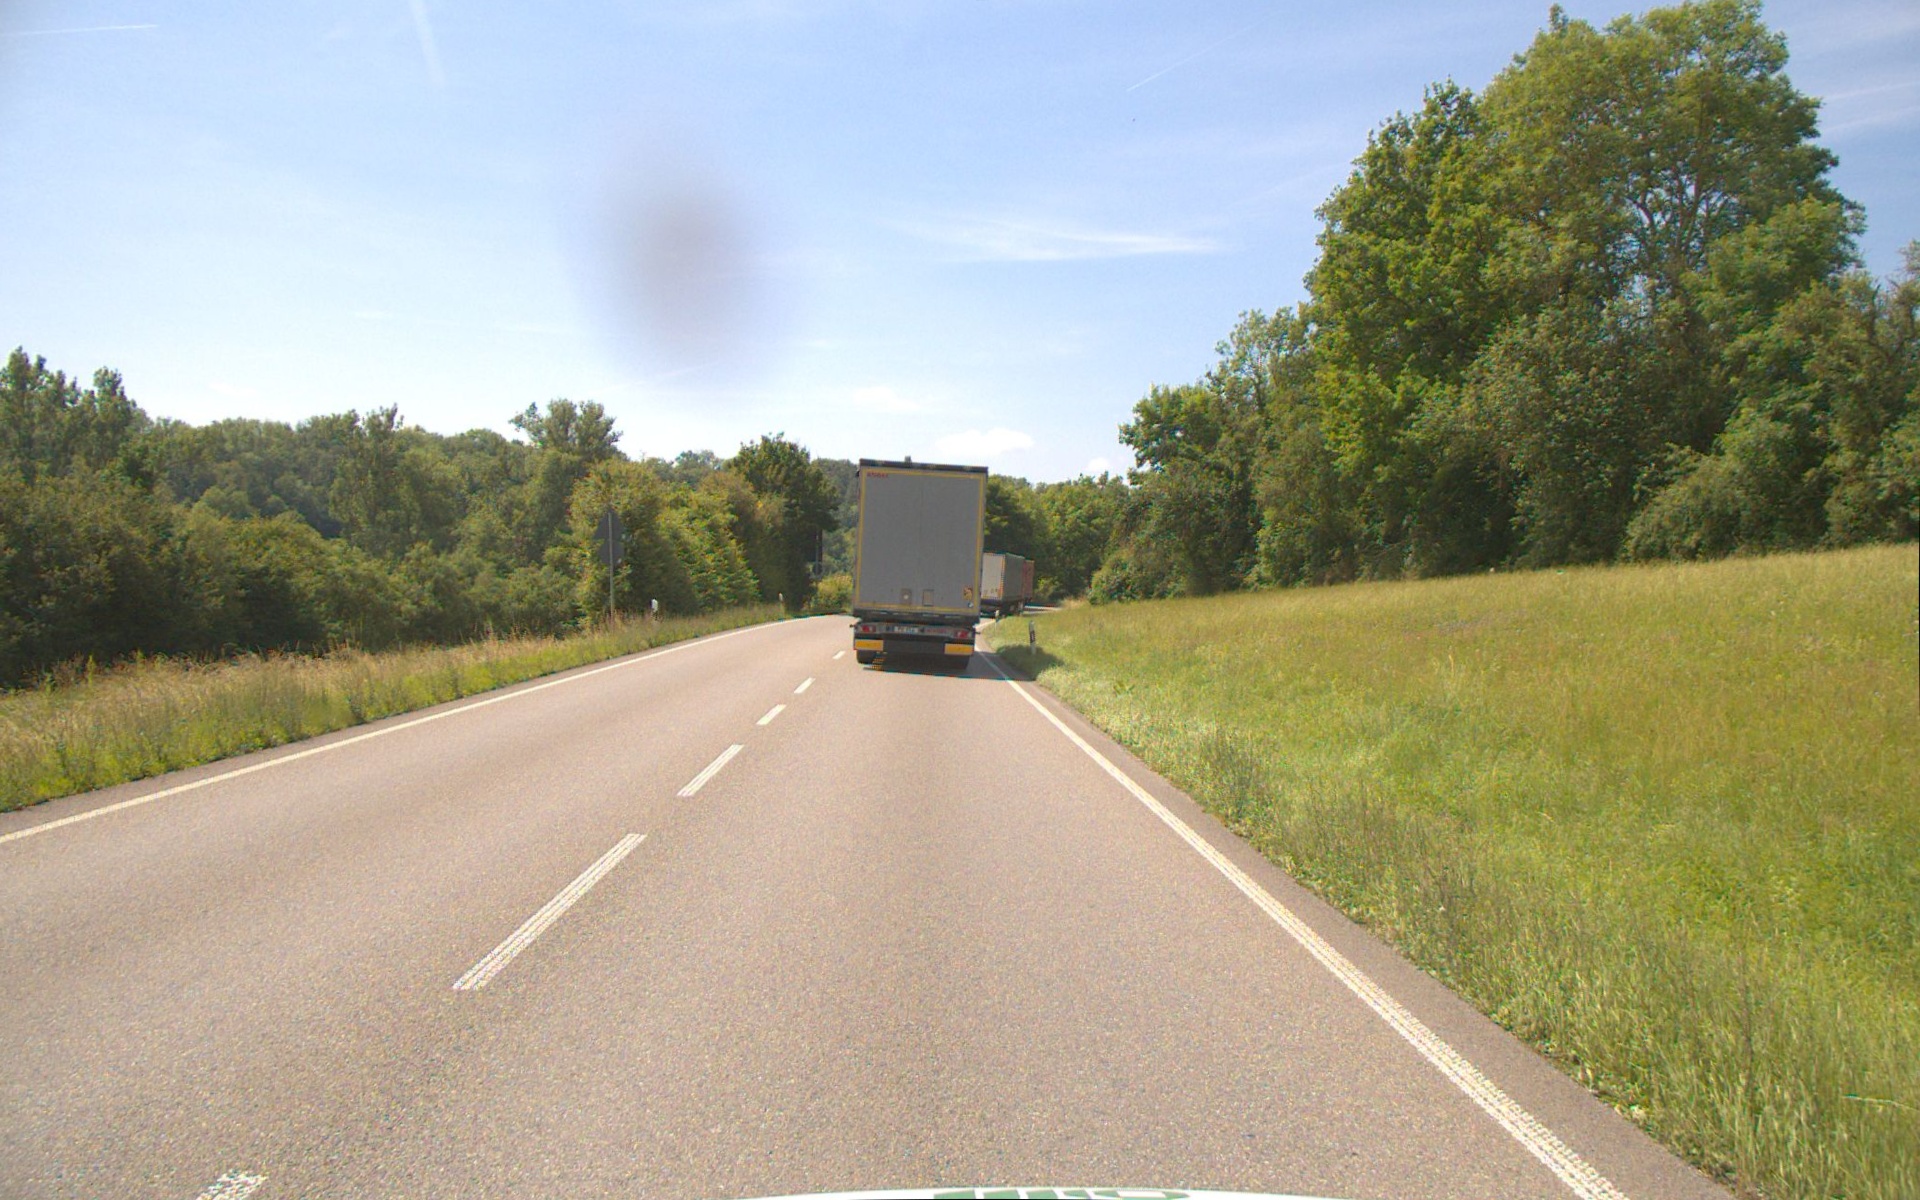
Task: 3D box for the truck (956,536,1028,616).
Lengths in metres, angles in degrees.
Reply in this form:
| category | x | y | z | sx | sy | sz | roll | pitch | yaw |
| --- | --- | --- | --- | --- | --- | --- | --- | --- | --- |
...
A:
| category | x | y | z | sx | sy | sz | roll | pitch | yaw |
| --- | --- | --- | --- | --- | --- | --- | --- | --- | --- |
| truck | 2.298 | -1.565 | 109.924 | 3.039 | 4.787 | 16.601 | 3 | 1 | 6 |

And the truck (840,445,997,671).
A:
| category | x | y | z | sx | sy | sz | roll | pitch | yaw |
| --- | --- | --- | --- | --- | --- | --- | --- | --- | --- |
| truck | -1.028 | -0.805 | 39.101 | 2.745 | 4.139 | 15.319 | 4 | 0 | -2 |
